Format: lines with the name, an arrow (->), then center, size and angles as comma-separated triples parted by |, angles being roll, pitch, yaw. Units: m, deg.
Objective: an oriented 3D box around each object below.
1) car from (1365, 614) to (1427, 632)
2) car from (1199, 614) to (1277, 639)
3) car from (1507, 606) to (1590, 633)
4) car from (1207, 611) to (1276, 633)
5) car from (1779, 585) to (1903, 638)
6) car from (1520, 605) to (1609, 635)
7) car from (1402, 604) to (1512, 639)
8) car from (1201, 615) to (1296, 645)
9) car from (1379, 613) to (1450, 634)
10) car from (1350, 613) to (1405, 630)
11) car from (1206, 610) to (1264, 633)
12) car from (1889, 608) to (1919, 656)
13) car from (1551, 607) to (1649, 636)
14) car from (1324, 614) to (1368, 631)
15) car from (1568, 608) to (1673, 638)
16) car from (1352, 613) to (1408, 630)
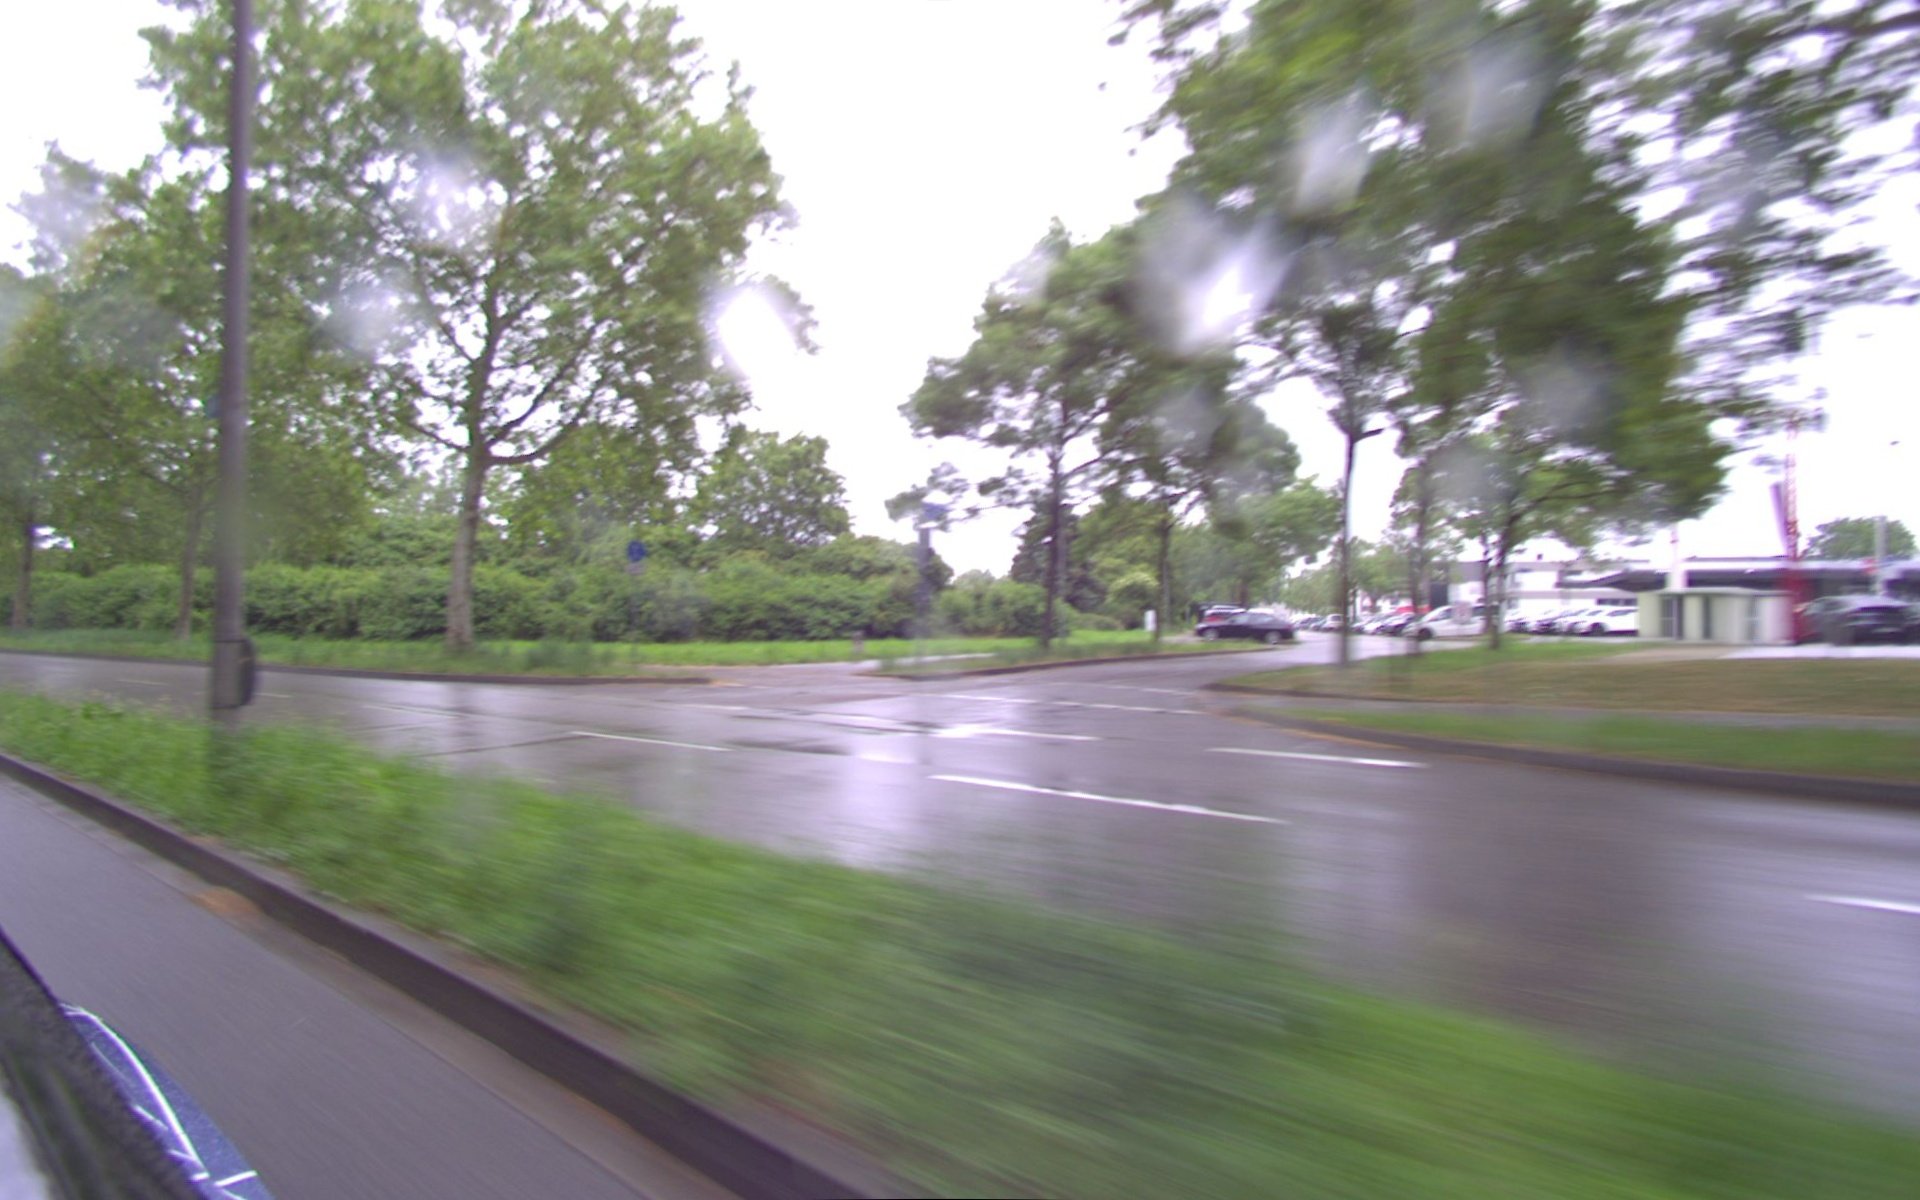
car -> 33.437, 1.750, 77.718 | 4.170, 1.368, 1.589 | -1, -1, 18
car -> 15.644, 1.504, 57.042 | 4.170, 1.368, 1.589 | -1, -1, 18
car -> 37.132, 1.228, 63.954 | 4.167, 1.669, 1.590 | -1, -1, 16
car -> 17.896, 1.377, 64.386 | 4.170, 1.368, 1.589 | -1, -1, 18
car -> 27.165, 0.361, 31.365 | 1.587, 1.506, 4.173 | -1, -1, 22
car -> 35.445, 1.182, 59.460 | 4.167, 1.669, 1.590 | -1, -1, 16
car -> 27.430, 1.203, 56.073 | 5.186, 1.878, 1.784 | -1, -1, 17
car -> 13.609, 1.408, 47.757 | 4.257, 1.368, 1.589 | -1, -1, 18
car -> 30.672, 1.598, 68.420 | 4.170, 1.368, 1.589 | -1, -1, 18
car -> 35.801, 1.848, 86.883 | 4.170, 1.368, 1.589 | -1, -1, 18
car -> 20.675, 1.609, 76.039 | 4.170, 1.640, 1.589 | -1, -1, 18
car -> 30.402, 0.981, 30.913 | 1.587, 1.506, 4.173 | -1, -1, 22
car -> 34.505, 1.183, 54.658 | 4.167, 1.506, 1.590 | -1, -1, 16
car -> 40.848, 2.394, 107.138 | 4.170, 1.776, 1.589 | -1, -1, 18
car -> 33.989, 1.178, 52.191 | 4.167, 1.506, 1.590 | -1, -1, 16
car -> 35.164, 1.824, 84.738 | 4.170, 1.368, 1.589 | -1, -1, 18
